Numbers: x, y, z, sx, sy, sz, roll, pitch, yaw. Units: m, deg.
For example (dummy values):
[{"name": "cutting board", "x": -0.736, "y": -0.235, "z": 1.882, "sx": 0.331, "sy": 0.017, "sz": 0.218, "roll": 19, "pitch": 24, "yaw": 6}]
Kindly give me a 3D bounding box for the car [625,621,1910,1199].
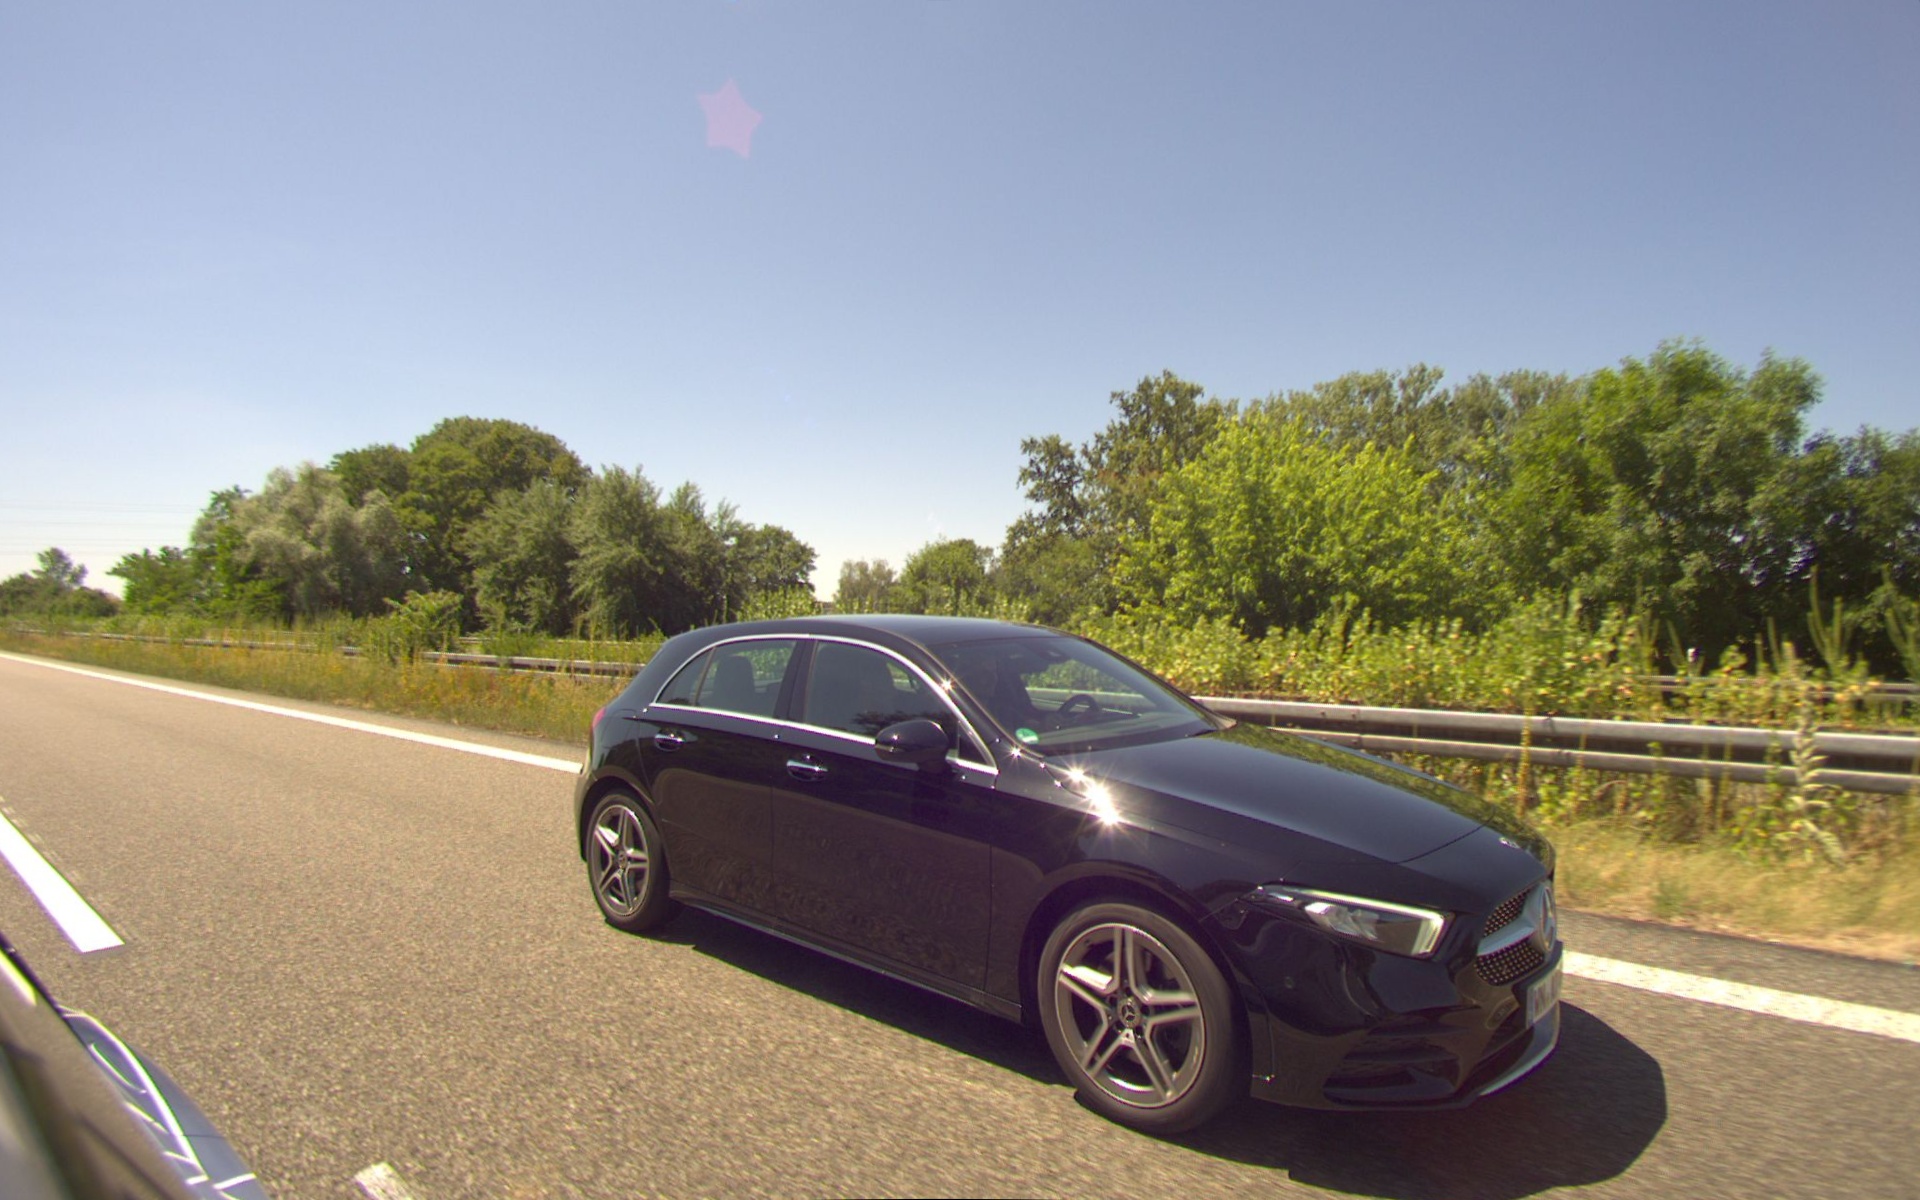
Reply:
[{"name": "car", "x": 0.666, "y": 0.793, "z": 3.761, "sx": 4.049, "sy": 1.422, "sz": 1.774, "roll": -1, "pitch": -2, "yaw": 40}]
